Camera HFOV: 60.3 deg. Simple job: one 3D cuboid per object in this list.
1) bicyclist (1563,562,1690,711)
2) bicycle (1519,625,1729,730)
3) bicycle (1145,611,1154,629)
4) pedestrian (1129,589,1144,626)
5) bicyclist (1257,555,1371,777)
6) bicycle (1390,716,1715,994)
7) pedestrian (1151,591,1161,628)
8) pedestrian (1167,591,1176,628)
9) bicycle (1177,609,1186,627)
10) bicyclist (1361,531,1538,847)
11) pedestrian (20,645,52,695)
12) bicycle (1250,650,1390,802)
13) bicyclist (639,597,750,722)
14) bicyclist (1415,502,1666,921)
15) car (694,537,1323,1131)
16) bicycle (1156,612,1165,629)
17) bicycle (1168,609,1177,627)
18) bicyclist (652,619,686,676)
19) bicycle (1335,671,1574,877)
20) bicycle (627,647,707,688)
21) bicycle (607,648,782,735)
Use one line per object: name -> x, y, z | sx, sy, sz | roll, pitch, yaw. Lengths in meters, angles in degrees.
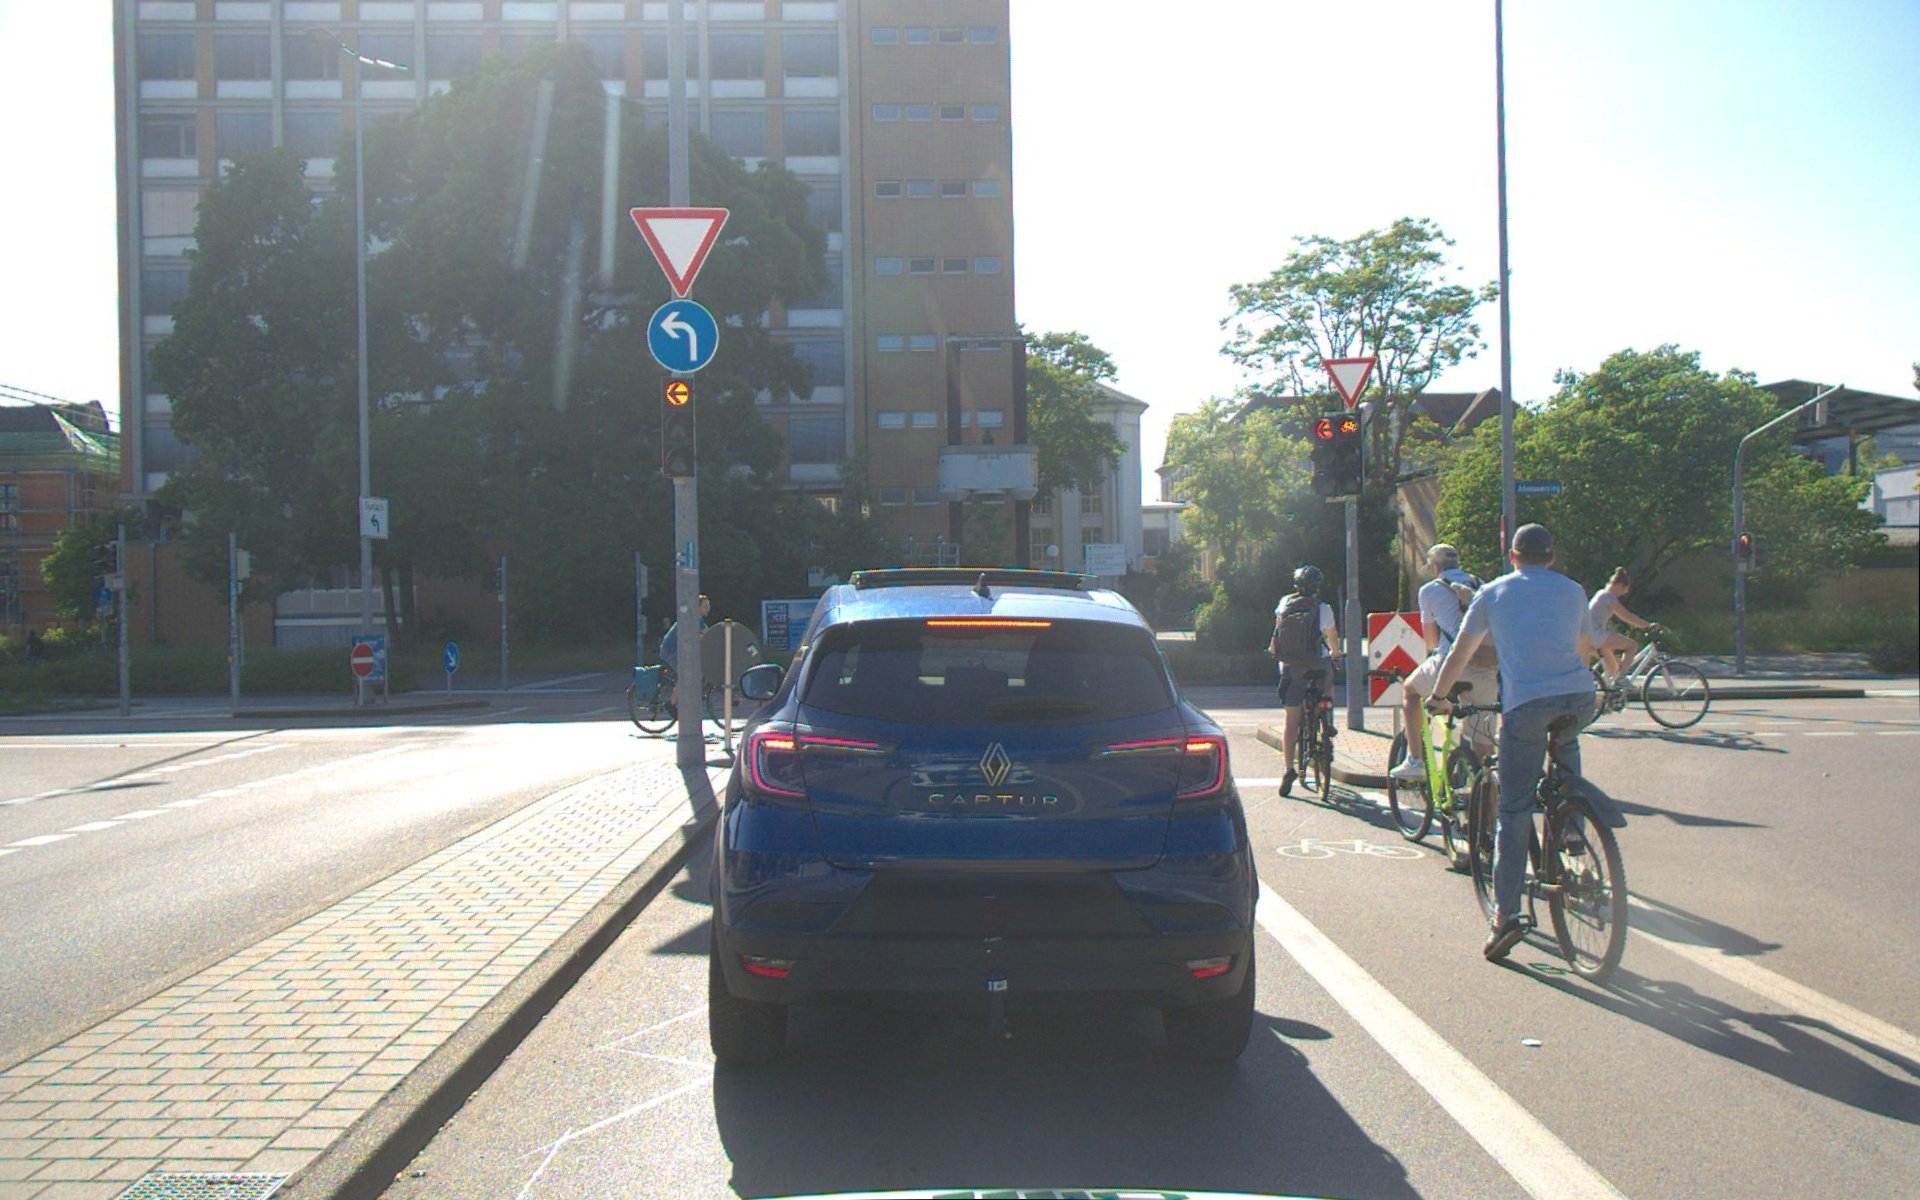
bicyclist -> 7.193, 0.389, 17.901 | 1.046, 1.526, 0.742 | -3, -1, 7
bicycle -> 7.150, 0.831, 17.890 | 1.942, 1.012, 0.742 | -3, -1, 8
bicycle -> 10.792, 1.148, 94.214 | 0.397, 0.990, 1.684 | 1, 0, 3
pedestrian -> 9.977, 0.409, 93.514 | 0.841, 2.049, 0.468 | -1, 0, 5
bicyclist -> 2.761, 0.498, 12.967 | 0.711, 1.657, 0.969 | 1, 0, 3
bicycle -> 2.504, 1.036, 7.265 | 0.725, 0.911, 1.978 | 1, 0, 0
pedestrian -> 10.794, 0.519, 91.187 | 0.465, 2.049, 0.523 | -1, 0, 5
pedestrian -> 11.825, 0.542, 92.554 | 0.465, 2.049, 0.468 | -1, 0, 5
bicycle -> 12.678, 1.036, 94.581 | 0.397, 0.990, 1.684 | 1, 0, 3
bicyclist -> 2.884, 0.506, 9.833 | 0.633, 1.769, 1.065 | 1, 0, -6
pedestrian -> -30.812, 2.319, 55.162 | 0.722, 1.631, 0.598 | -1, 0, 21
bicycle -> 2.762, 0.933, 12.915 | 0.723, 1.012, 2.174 | 1, 0, 3
bicyclist -> -3.212, 0.716, 20.080 | 1.100, 1.447, 0.688 | -3, -1, 10
bicyclist -> 2.510, 0.456, 7.263 | 0.736, 1.698, 1.016 | 1, 0, 0
car -> 0.062, 0.665, 6.673 | 1.767, 1.660, 3.998 | 1, 0, -3
bicycle -> 11.402, 1.159, 94.180 | 0.397, 0.990, 1.684 | 1, 0, 3
bicycle -> 12.153, 1.027, 94.560 | 0.397, 0.990, 1.684 | 1, 0, 3
bicyclist -> -7.672, 1.241, 43.636 | 0.728, 1.466, 0.593 | -1, 0, -27
bicycle -> 2.872, 0.975, 9.836 | 0.646, 1.020, 1.967 | 1, 0, -6
bicycle -> -7.719, 1.764, 43.610 | 1.982, 0.981, 0.593 | -1, 0, -28
bicycle -> -3.212, 1.106, 20.077 | 1.942, 0.934, 0.688 | -3, -1, 11
